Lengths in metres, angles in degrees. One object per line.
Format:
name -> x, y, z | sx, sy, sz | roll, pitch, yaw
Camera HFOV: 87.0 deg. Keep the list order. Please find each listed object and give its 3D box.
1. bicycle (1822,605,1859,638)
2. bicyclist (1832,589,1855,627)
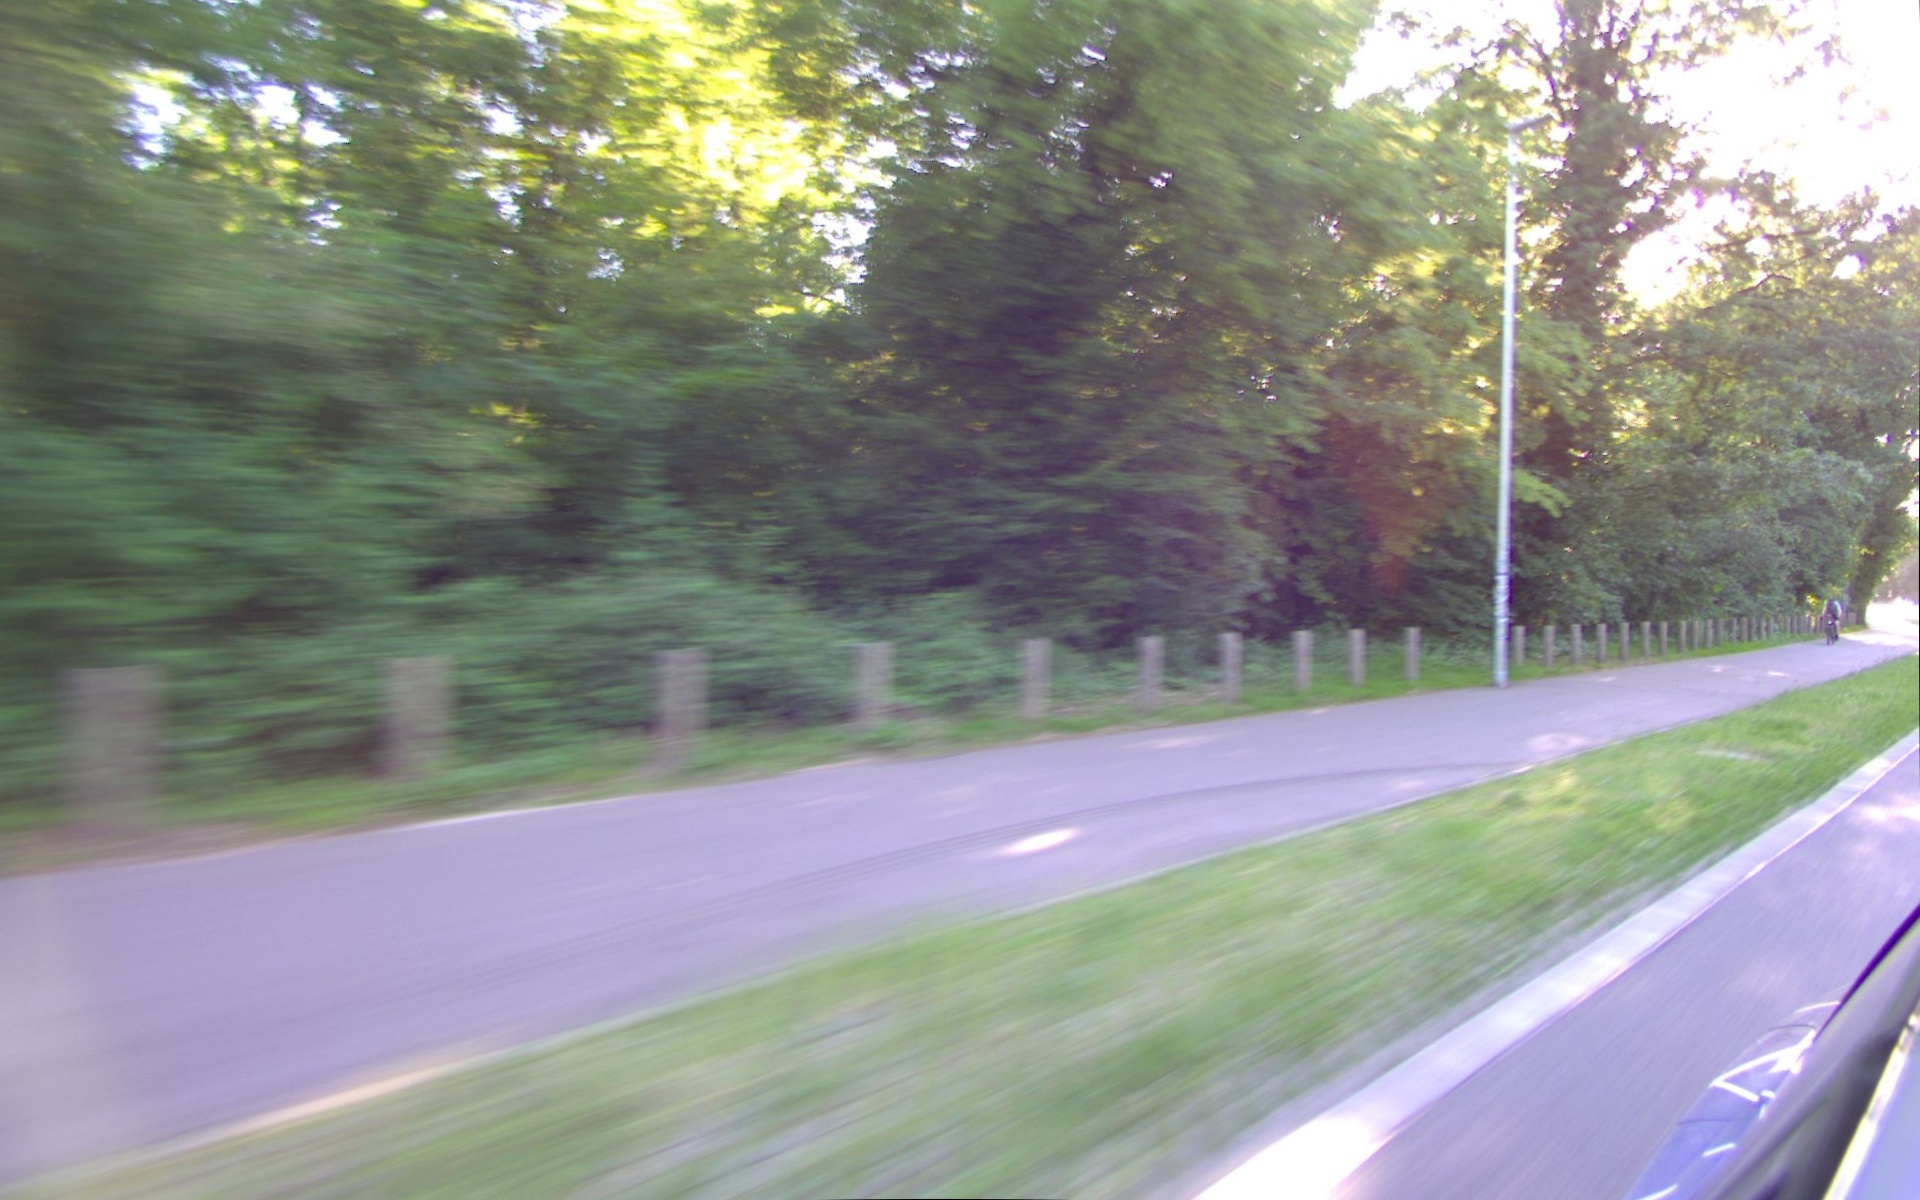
bicycle -> 30.658, 0.723, 35.224 | 2.825, 1.070, 0.608 | 0, 1, -42
bicyclist -> 30.701, 0.268, 35.173 | 0.489, 1.283, 0.514 | 0, 1, -41
